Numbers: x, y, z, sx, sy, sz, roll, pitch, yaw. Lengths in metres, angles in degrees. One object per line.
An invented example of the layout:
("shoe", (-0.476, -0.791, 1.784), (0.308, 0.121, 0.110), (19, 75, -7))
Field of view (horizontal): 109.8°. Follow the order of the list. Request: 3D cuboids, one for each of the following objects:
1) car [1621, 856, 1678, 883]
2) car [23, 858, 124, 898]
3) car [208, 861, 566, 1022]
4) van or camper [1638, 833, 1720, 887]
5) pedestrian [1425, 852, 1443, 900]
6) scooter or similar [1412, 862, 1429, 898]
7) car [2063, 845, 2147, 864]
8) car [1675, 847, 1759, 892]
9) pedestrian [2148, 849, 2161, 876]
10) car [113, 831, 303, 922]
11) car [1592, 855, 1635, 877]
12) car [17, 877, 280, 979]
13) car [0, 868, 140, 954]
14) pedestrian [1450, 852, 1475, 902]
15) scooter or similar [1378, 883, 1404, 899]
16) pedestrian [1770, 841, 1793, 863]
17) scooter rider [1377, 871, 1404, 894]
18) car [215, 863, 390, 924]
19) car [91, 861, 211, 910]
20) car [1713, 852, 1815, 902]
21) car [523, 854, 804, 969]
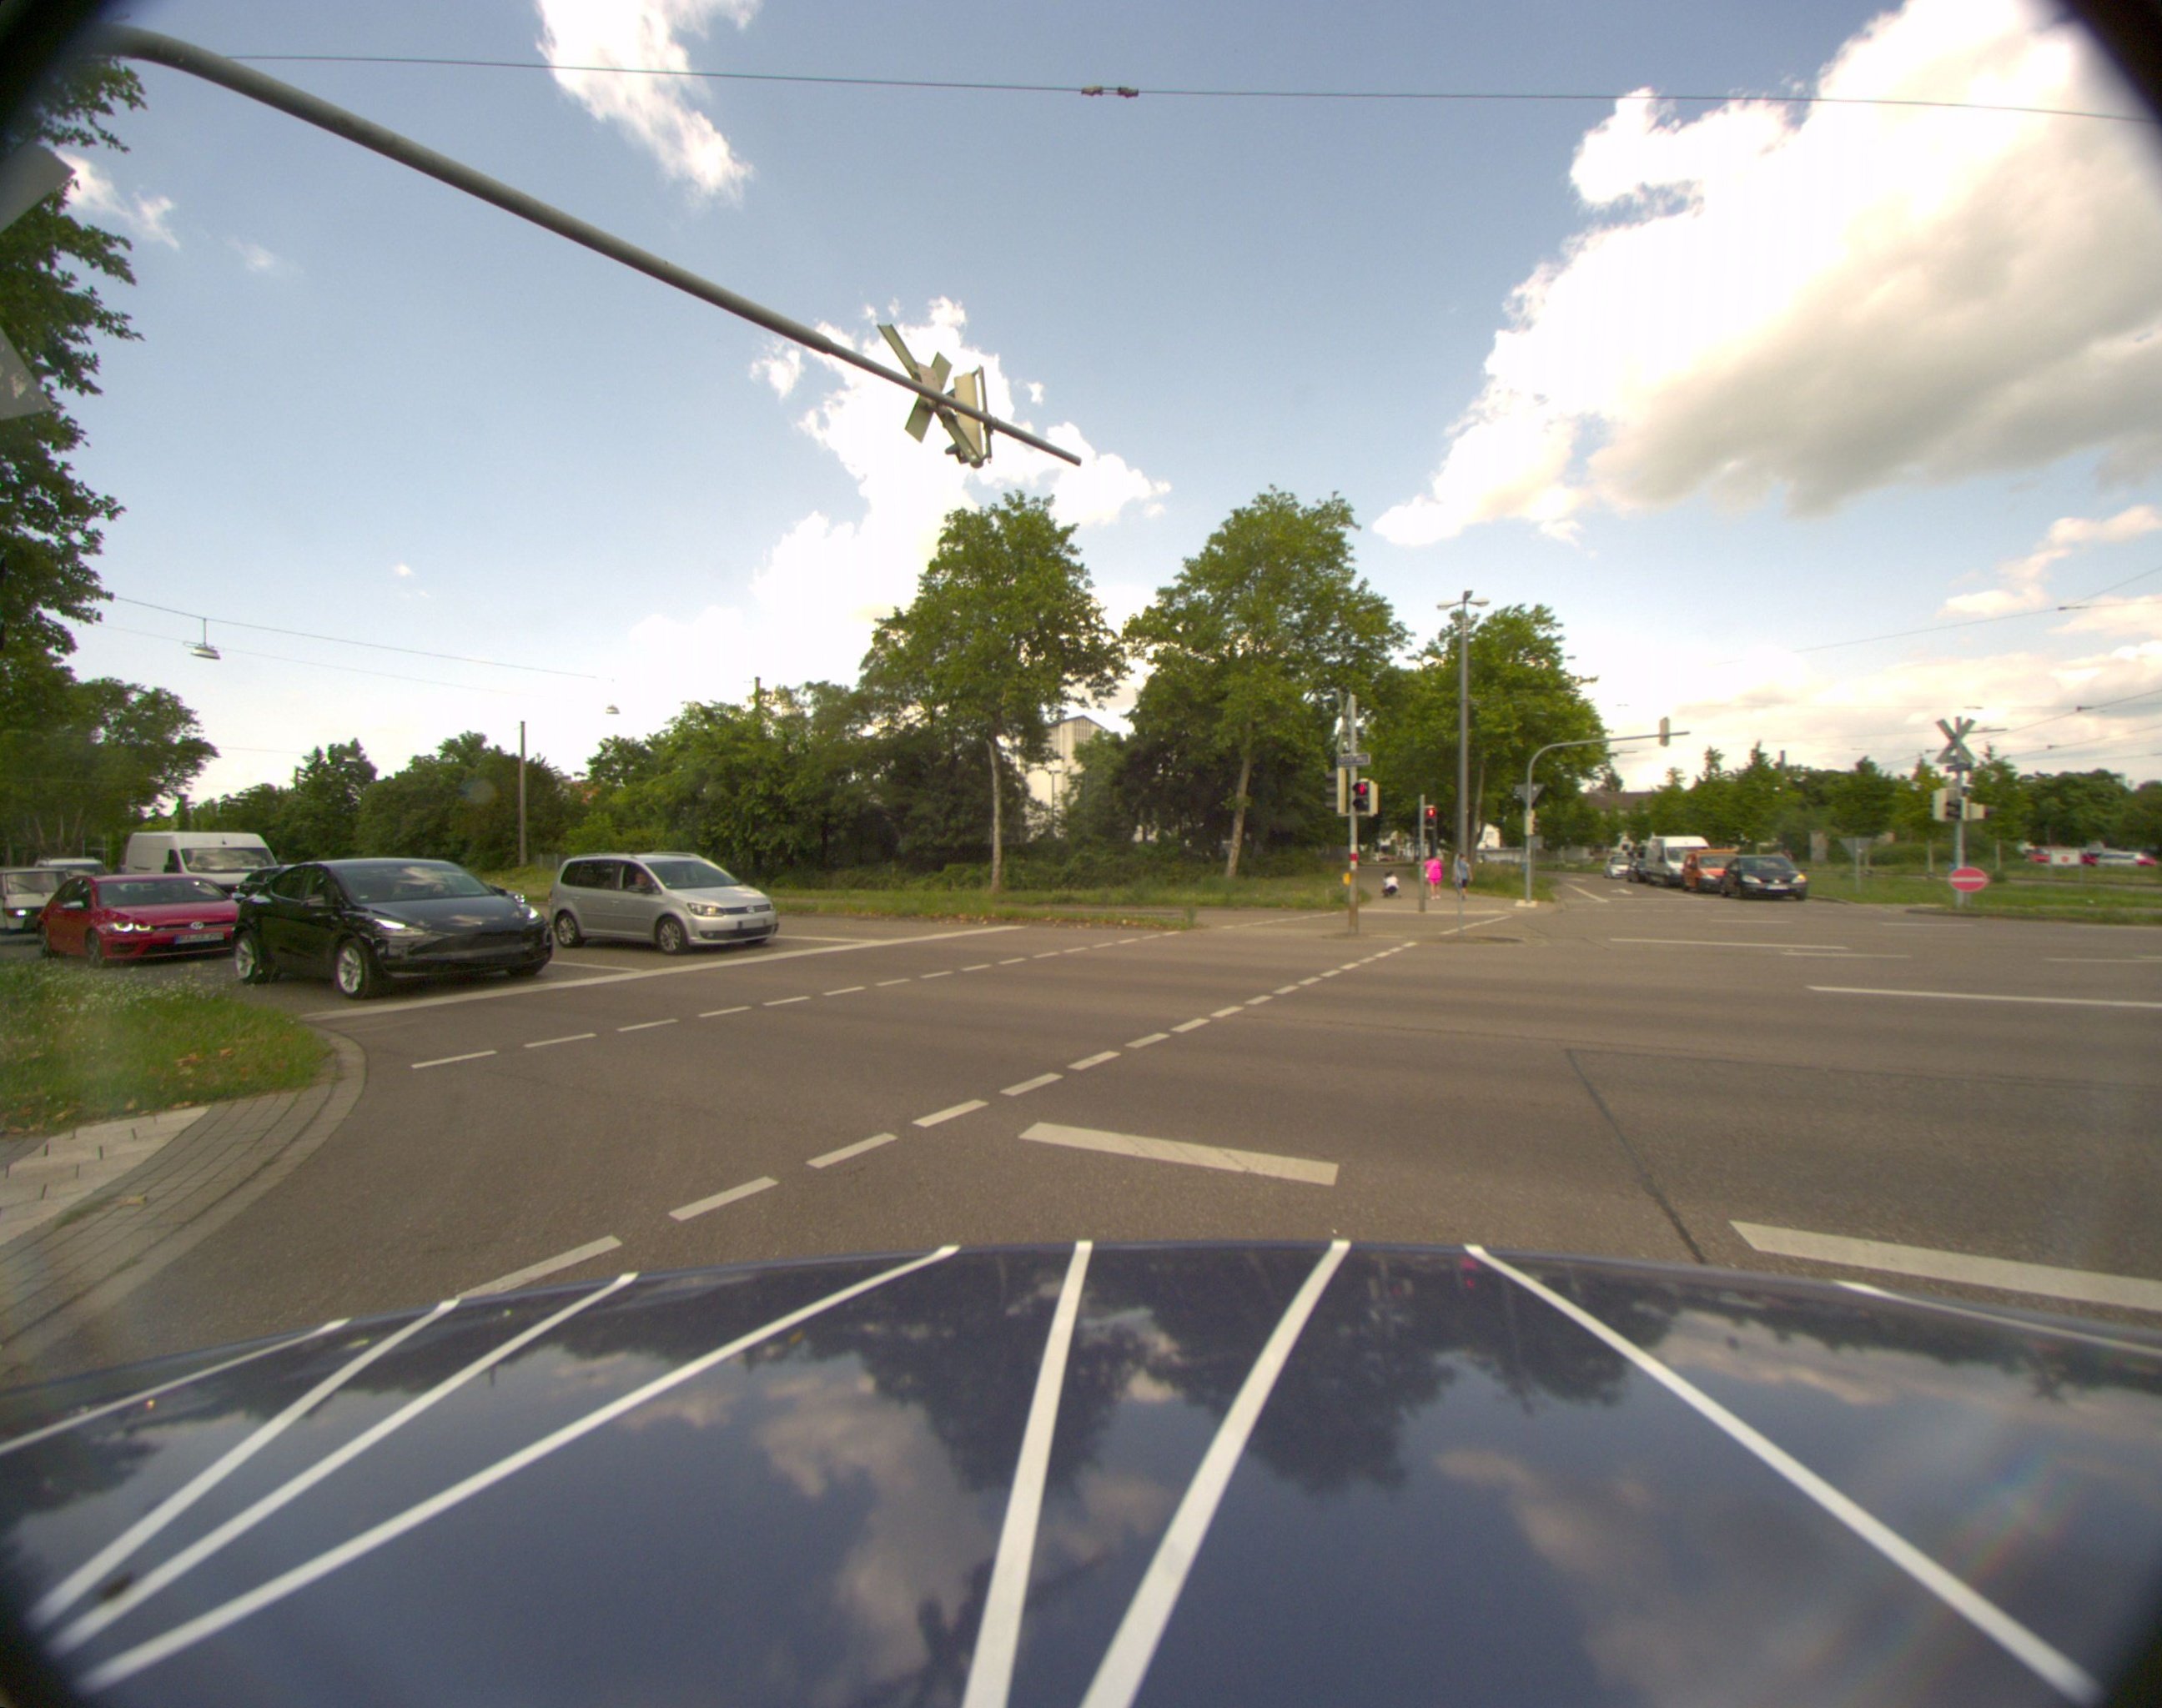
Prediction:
("car", (33.035, 0.862, 44.246), (1.807, 1.423, 4.476), (0, 1, 25))
("car", (-43.778, 1.018, 33.006), (4.332, 1.637, 1.768), (0, 0, 25))
("car", (-9.132, 0.949, 9.957), (4.568, 1.643, 1.935), (0, 2, 27))
("van or camper", (30.271, 0.280, 38.670), (1.977, 2.509, 6.048), (0, 0, 25))
("pedestrian", (11.918, 0.731, 25.661), (0.420, 1.610, 0.597), (-1, 1, 35))
("scooter or similar", (11.651, 0.885, 26.042), (0.321, 1.225, 0.777), (-2, 0, 37))
("car", (82.421, 0.049, 61.261), (2.004, 1.521, 3.989), (-1, 0, -38))
("car", (27.128, 0.622, 32.571), (1.879, 1.789, 4.378), (0, 0, 28))
("pedestrian", (54.709, 0.414, 38.329), (0.650, 1.346, 0.753), (-2, 0, 19))
("car", (-26.896, 0.601, 23.382), (5.918, 2.516, 2.231), (0, 2, 25))
("car", (36.397, 0.810, 52.050), (1.807, 1.423, 4.391), (0, 0, 27))
("car", (-16.151, 1.160, 13.145), (4.490, 1.383, 1.805), (0, 2, 25))
("car", (-22.674, 1.136, 16.469), (4.490, 1.561, 1.805), (0, 2, 25))
("pedestrian", (12.534, 0.755, 24.950), (0.631, 1.610, 0.612), (-1, 1, 35))
("scooter or similar", (10.455, 1.242, 25.636), (0.610, 0.508, 0.859), (-3, -1, 36))
("pedestrian", (64.321, -0.213, 69.802), (1.104, 2.002, 1.178), (0, 1, 14))
("scooter rider", (10.445, 0.969, 25.637), (0.610, 0.724, 0.861), (-3, -1, 36))
("car", (-19.957, 0.947, 19.470), (4.332, 1.367, 1.767), (0, 2, 25))
("car", (-33.763, 1.086, 27.574), (4.145, 1.609, 1.847), (0, 1, 27))
("car", (24.118, 0.765, 26.981), (1.731, 1.621, 4.060), (0, 0, 28))
("car", (-7.237, 0.868, 13.147), (4.490, 1.643, 1.934), (0, 2, 25))
